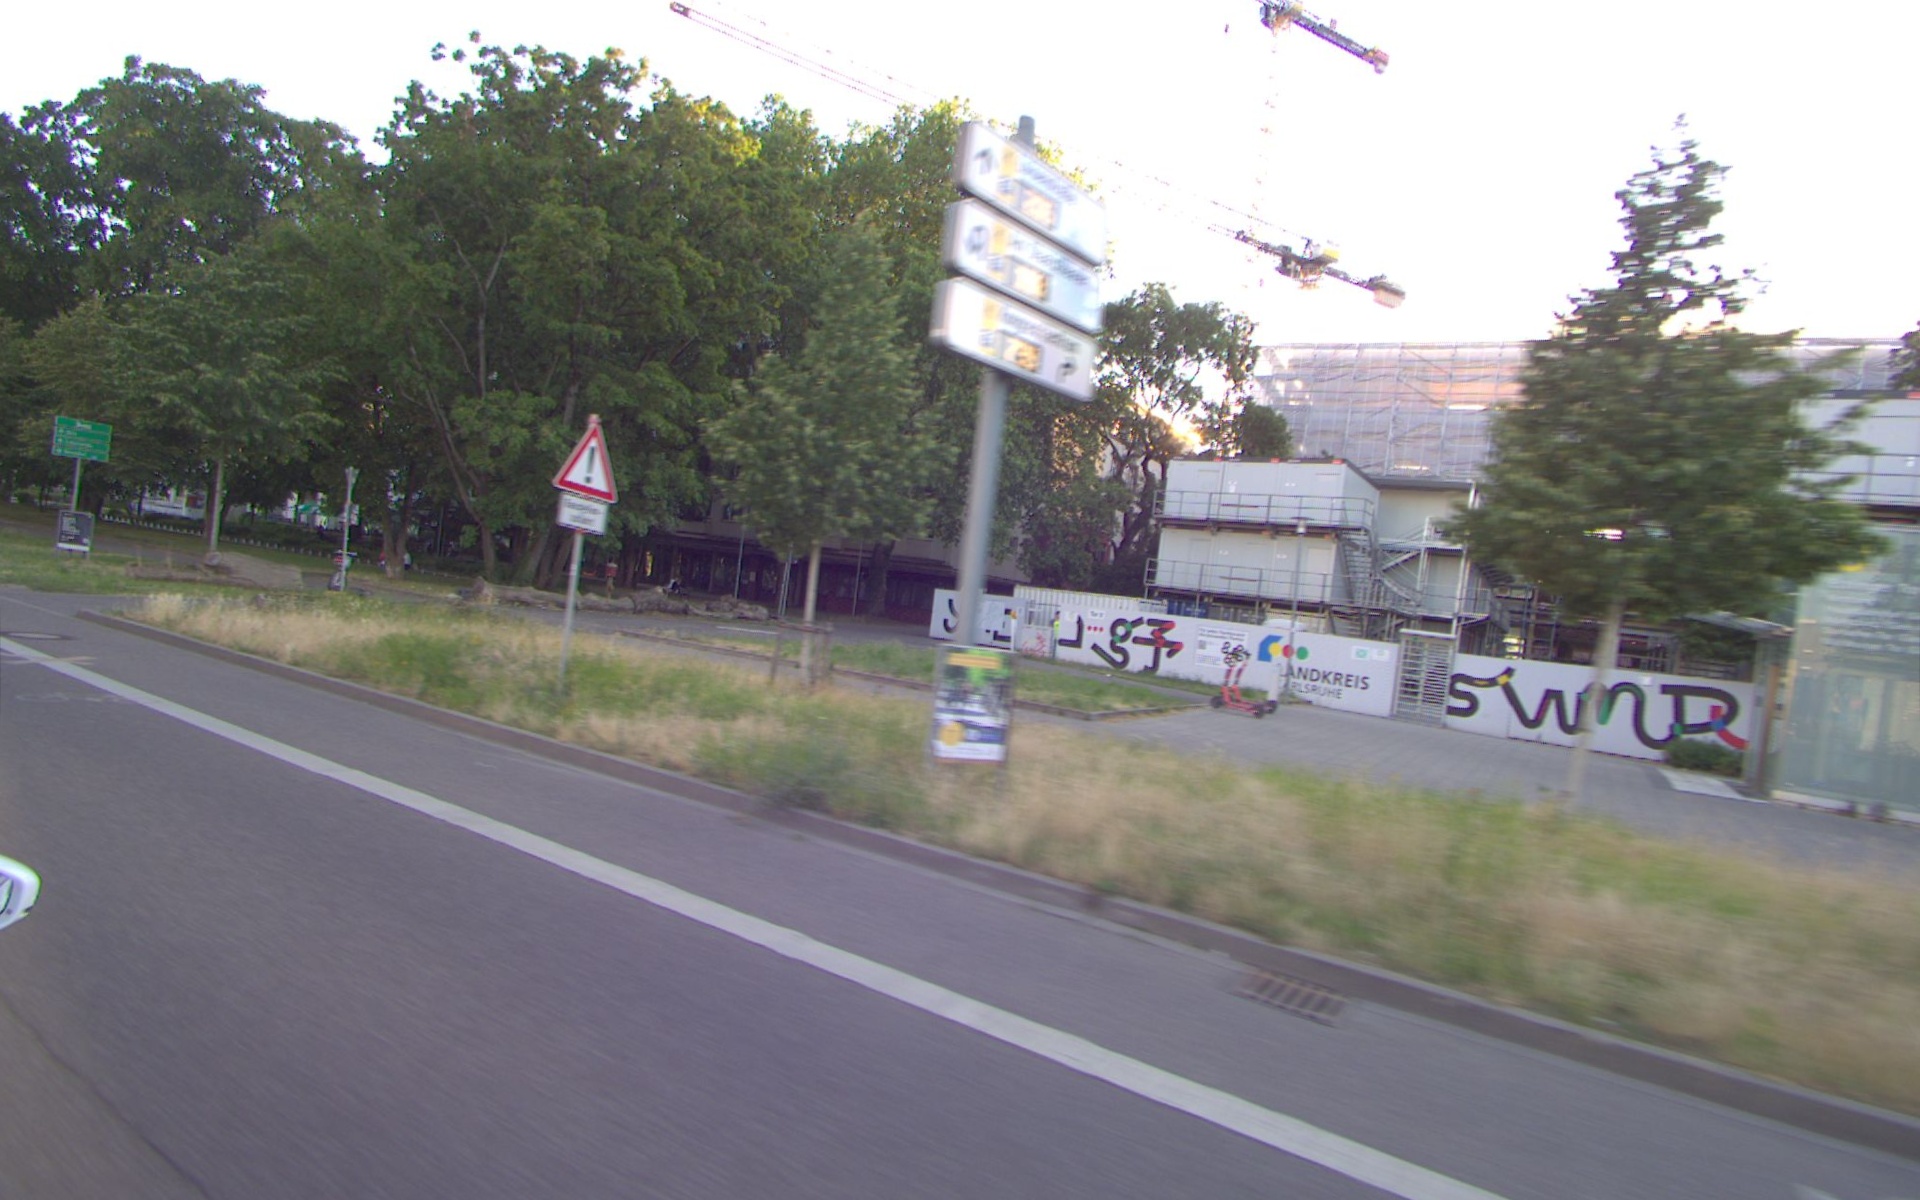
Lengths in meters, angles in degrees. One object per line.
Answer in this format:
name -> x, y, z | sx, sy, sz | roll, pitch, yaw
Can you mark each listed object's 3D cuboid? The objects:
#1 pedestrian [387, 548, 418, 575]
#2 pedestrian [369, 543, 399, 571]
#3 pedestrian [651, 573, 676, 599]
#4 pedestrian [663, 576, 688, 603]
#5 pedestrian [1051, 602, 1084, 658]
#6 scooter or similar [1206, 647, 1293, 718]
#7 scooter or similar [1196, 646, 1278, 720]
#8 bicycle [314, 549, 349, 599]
pedestrian -> -20.332, -1.404, 36.694 | 0.611, 0.895, 0.681 | 7, 1, 8
pedestrian -> -21.018, -1.561, 36.739 | 0.582, 0.895, 0.681 | 7, 1, 8
pedestrian -> -14.580, -0.676, 49.466 | 0.753, 1.179, 0.788 | 7, 1, 27
pedestrian -> -13.872, -0.508, 49.108 | 0.753, 1.179, 0.788 | 7, 1, 27
pedestrian -> 3.768, 1.049, 35.310 | 0.764, 1.879, 0.593 | 6, 1, -43
scooter or similar -> 5.956, 1.683, 20.748 | 1.546, 1.237, 0.473 | 7, 4, 26
scooter or similar -> 5.413, 1.601, 19.712 | 1.376, 1.237, 0.423 | 7, 4, 33
bicycle -> -14.727, -0.622, 23.549 | 0.491, 1.019, 1.878 | 3, 3, -38
